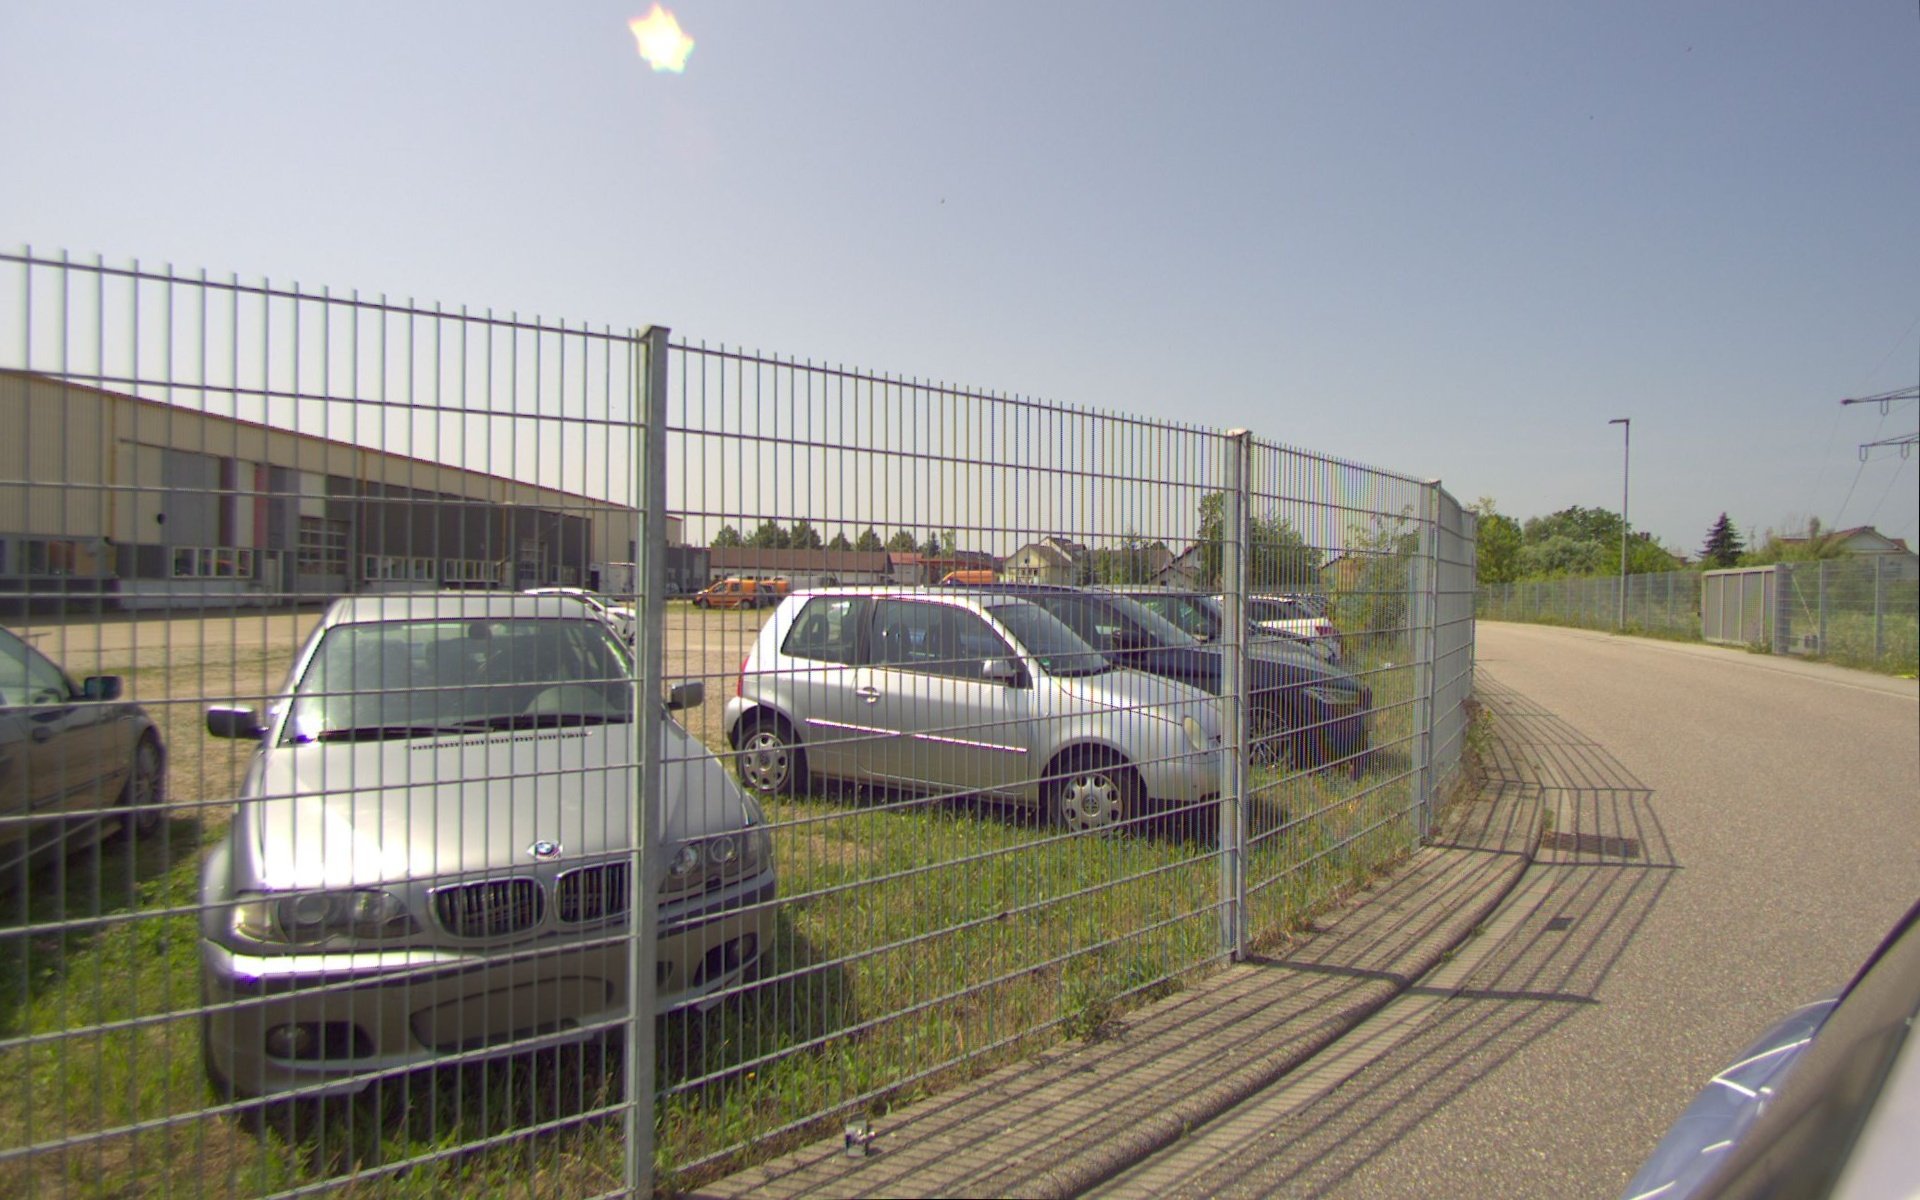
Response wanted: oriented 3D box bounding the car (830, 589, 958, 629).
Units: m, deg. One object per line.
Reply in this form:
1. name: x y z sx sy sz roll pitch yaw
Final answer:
1. car: -2.393 0.318 37.218 4.448 1.368 1.623 1 1 8

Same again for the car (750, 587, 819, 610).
1. car: -11.998 -0.107 69.392 4.315 1.395 1.838 2 0 7

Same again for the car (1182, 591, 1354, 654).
1. car: 8.010 0.593 26.439 4.123 1.492 1.628 -2 0 20

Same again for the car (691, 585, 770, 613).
1. car: -13.738 -0.062 60.671 4.312 1.504 1.751 2 0 5

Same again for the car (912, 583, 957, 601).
1. car: -2.304 -0.758 91.819 3.897 1.504 1.751 2 0 5

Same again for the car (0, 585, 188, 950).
1. car: -4.587 0.645 3.969 1.583 1.374 4.216 0 1 -25

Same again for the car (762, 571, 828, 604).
1. car: -11.829 -0.877 72.566 4.312 2.199 1.971 2 0 5

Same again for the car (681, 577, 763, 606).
1. car: -13.793 -0.488 58.754 4.312 1.504 1.751 2 0 5

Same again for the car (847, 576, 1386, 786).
1. car: 1.379 0.559 9.122 4.502 1.493 1.810 1 1 24

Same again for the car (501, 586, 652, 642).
1. car: -10.536 0.365 27.904 3.601 1.454 1.534 1 1 5

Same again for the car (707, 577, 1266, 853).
1. car: 0.188 0.587 6.842 3.438 1.440 1.623 1 1 24

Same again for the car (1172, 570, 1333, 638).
1. car: 6.301 0.056 21.846 3.236 1.371 1.519 1 1 19

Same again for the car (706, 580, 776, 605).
1. car: -13.862 -0.475 64.112 3.930 1.482 1.997 1 1 6

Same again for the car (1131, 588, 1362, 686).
1. car: 4.702 0.546 16.652 3.492 1.406 1.625 1 1 21

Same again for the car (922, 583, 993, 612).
1. car: -0.106 -0.117 56.007 3.764 1.480 1.586 2 0 7

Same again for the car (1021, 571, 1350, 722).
1. car: 2.634 0.449 11.812 3.506 1.521 1.700 1 1 20

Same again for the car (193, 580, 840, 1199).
1. car: -2.206 0.632 4.531 1.585 1.412 4.361 0 1 -32

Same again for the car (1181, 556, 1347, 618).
1. car: 7.174 -0.314 23.889 3.631 1.371 1.728 1 1 22

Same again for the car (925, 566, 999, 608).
1. car: 0.181 -0.883 67.287 4.665 2.617 1.976 2 0 7

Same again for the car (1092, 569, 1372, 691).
1. car: 3.823 0.335 14.310 3.615 1.495 1.741 1 3 20

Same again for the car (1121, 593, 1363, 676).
1. car: 5.211 0.576 18.775 4.145 1.371 1.712 1 1 21

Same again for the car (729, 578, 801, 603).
1. car: -12.846 -0.651 66.901 4.312 1.504 1.971 2 0 5

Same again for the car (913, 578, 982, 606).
1. car: -0.710 -0.462 58.804 3.764 1.480 1.586 2 0 7

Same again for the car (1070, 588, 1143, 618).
1. car: 7.676 0.145 53.366 3.709 1.455 1.608 2 0 7
